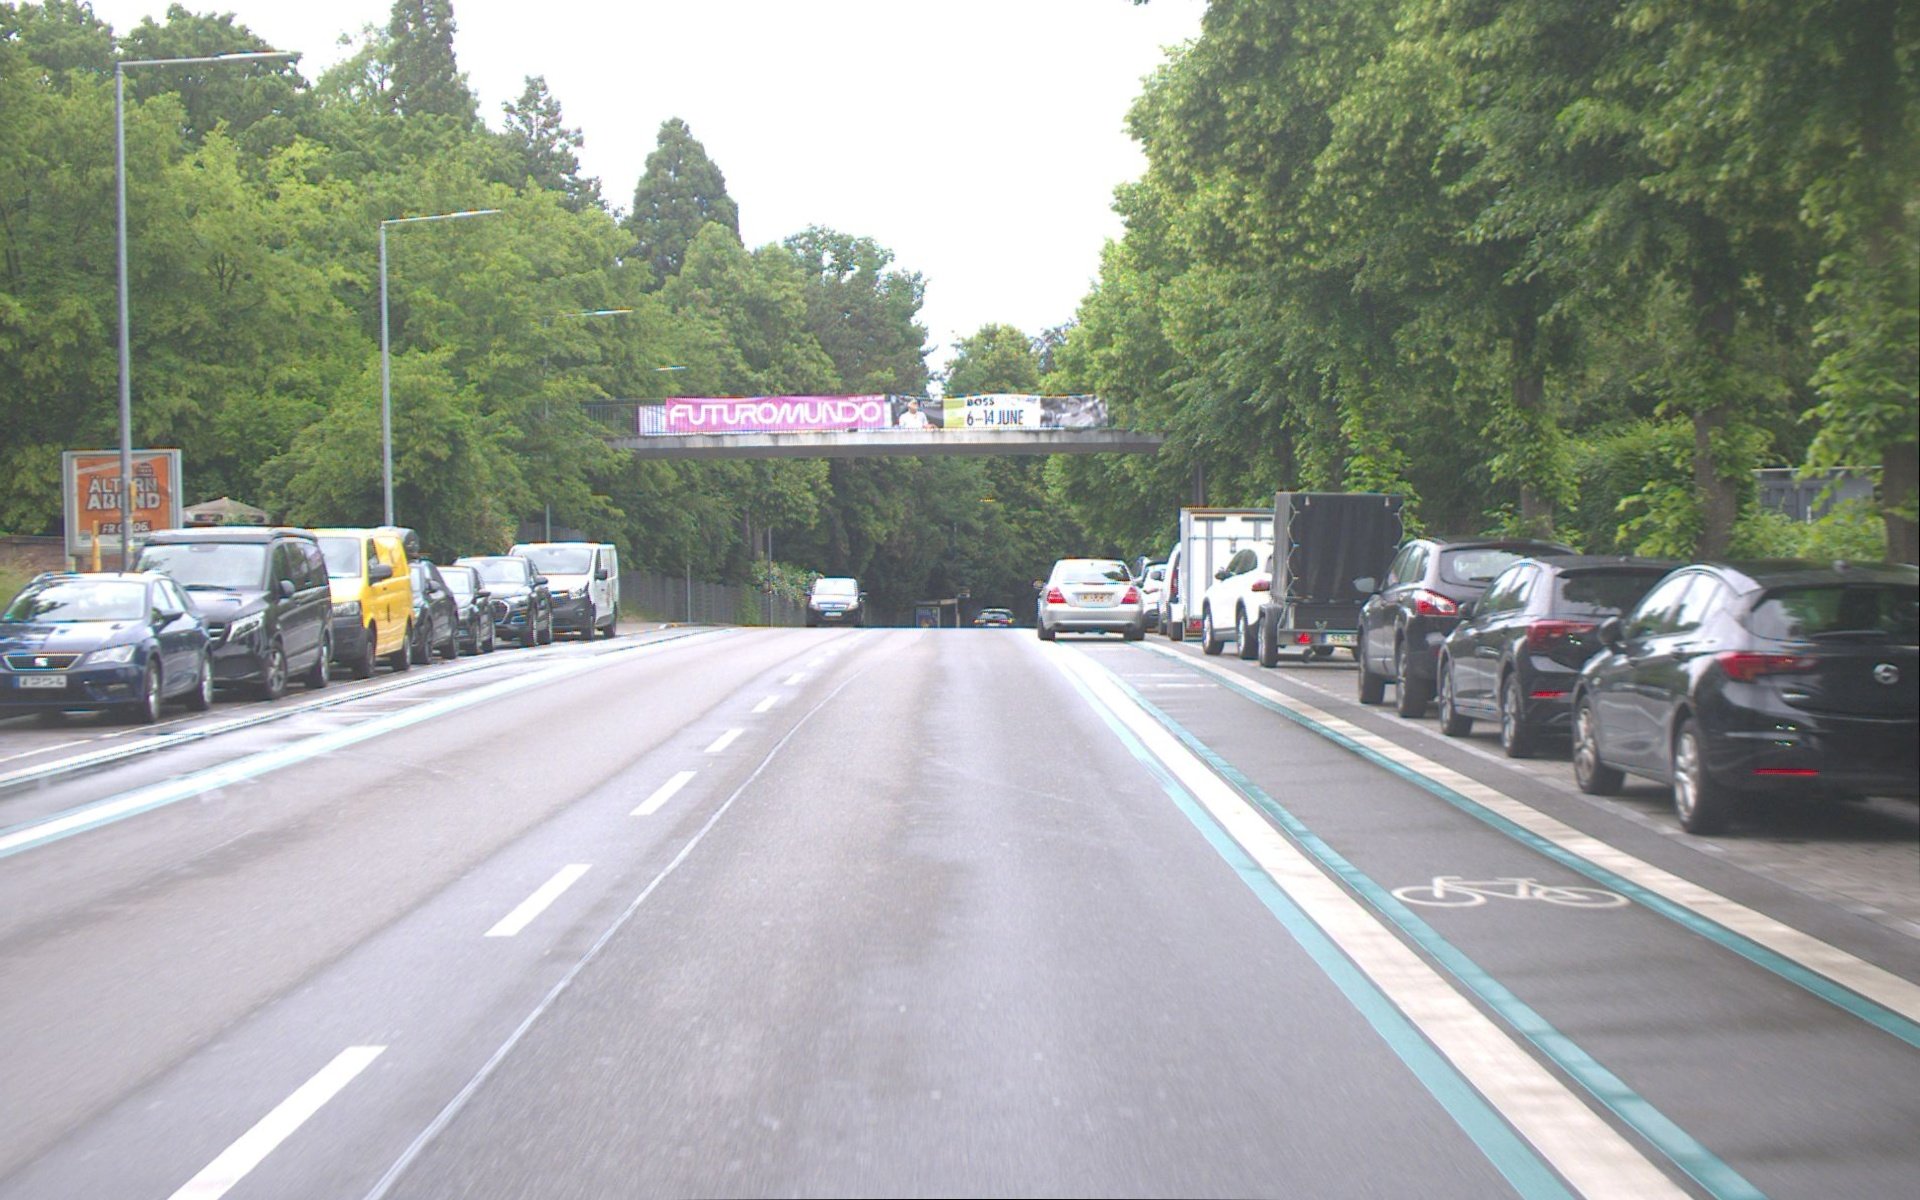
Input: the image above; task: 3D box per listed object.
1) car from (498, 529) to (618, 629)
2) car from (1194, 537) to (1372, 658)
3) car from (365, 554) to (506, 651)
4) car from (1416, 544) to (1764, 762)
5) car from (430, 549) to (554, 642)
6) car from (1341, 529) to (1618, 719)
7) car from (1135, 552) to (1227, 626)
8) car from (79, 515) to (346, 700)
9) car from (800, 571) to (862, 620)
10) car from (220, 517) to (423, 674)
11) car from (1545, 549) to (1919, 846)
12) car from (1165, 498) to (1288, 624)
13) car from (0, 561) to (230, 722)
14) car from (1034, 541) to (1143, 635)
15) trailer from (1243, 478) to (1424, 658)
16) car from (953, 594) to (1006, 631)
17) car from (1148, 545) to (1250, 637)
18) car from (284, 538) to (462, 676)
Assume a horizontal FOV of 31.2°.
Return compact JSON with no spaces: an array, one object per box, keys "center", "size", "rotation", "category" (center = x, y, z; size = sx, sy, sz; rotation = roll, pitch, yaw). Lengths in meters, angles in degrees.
[{"center":[-8.102,-0.456,69.651],"size":[1.757,1.925,4.193],"rotation":[0,2,2],"category":"car"},{"center":[4.420,-0.071,47.642],"size":[1.731,1.578,4.155],"rotation":[-1,1,-5],"category":"car"},{"center":[-8.544,0.012,56.298],"size":[1.886,1.446,3.983],"rotation":[-1,2,-3],"category":"car"},{"center":[4.638,0.333,25.851],"size":[1.731,1.458,4.073],"rotation":[1,1,-2],"category":"car"},{"center":[-8.429,-0.108,62.217],"size":[1.870,1.536,4.055],"rotation":[-1,2,-3],"category":"car"},{"center":[4.650,0.171,31.327],"size":[1.731,1.578,4.155],"rotation":[1,1,-2],"category":"car"},{"center":[4.607,-0.256,72.169],"size":[1.731,1.457,4.045],"rotation":[-1,1,1],"category":"car"},{"center":[-8.476,0.020,39.452],"size":[1.990,1.939,5.142],"rotation":[-1,2,-1],"category":"car"},{"center":[-4.047,-0.125,107.174],"size":[1.869,1.468,4.054],"rotation":[-1,-1,-3],"category":"car"},{"center":[-8.419,-0.117,45.711],"size":[1.882,1.938,4.827],"rotation":[-1,2,-1],"category":"car"},{"center":[4.631,0.466,19.560],"size":[1.731,1.458,4.278],"rotation":[1,1,-2],"category":"car"},{"center":[4.626,-0.697,60.154],"size":[1.889,2.120,4.045],"rotation":[-1,1,1],"category":"car"},{"center":[-8.520,0.362,33.994],"size":[1.731,1.385,4.371],"rotation":[-1,2,-1],"category":"car"},{"center":[2.239,-0.238,60.706],"size":[1.731,1.578,4.037],"rotation":[-1,1,0],"category":"car"},{"center":[4.679,-0.421,43.521],"size":[1.884,2.158,3.808],"rotation":[-1,1,0],"category":"trailer"},{"center":[0.883,0.537,149.220],"size":[2.140,1.487,4.498],"rotation":[0,1,2],"category":"car"},{"center":[4.524,-0.200,65.531],"size":[1.731,1.678,4.045],"rotation":[-1,1,1],"category":"car"},{"center":[-8.617,0.066,50.797],"size":[1.990,1.886,4.055],"rotation":[-1,2,-1],"category":"car"}]
